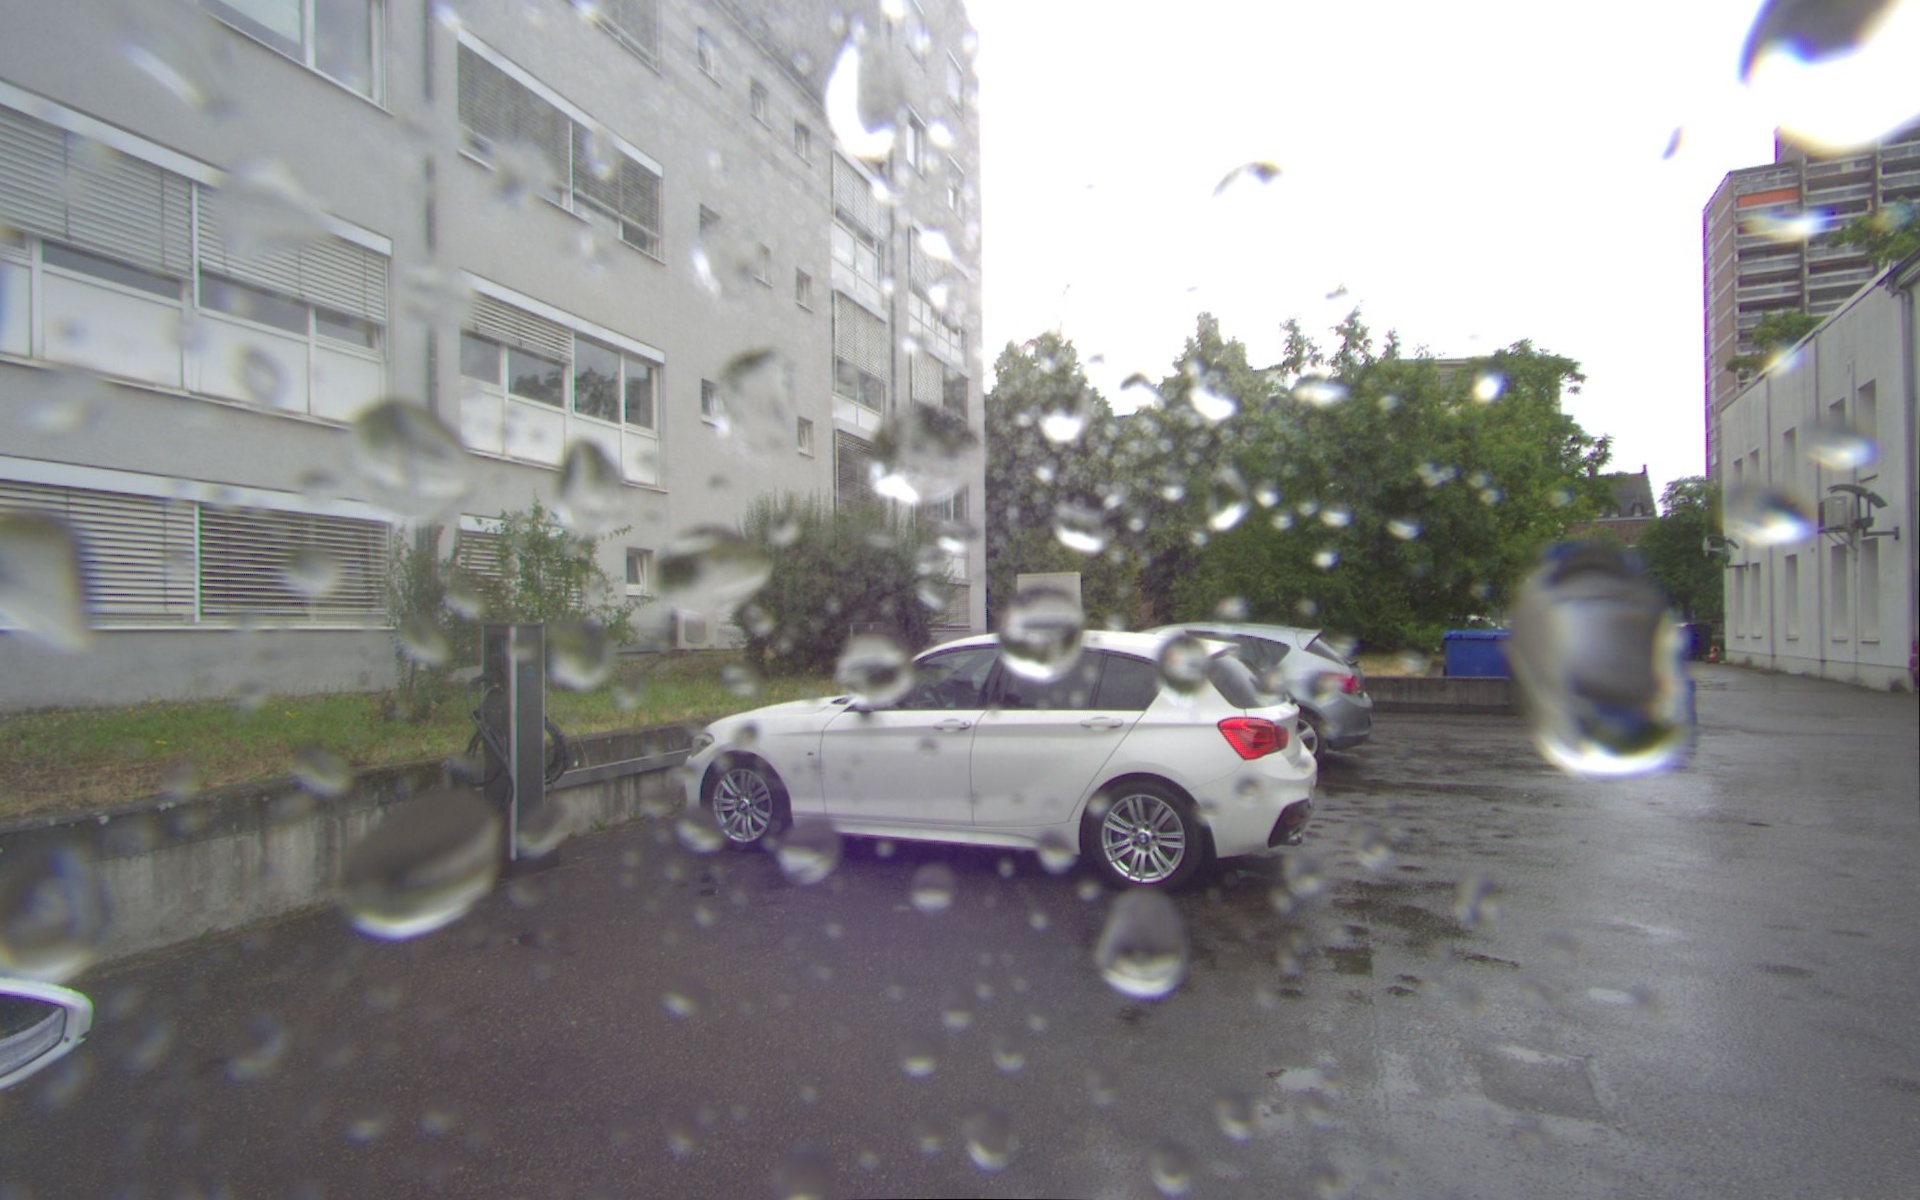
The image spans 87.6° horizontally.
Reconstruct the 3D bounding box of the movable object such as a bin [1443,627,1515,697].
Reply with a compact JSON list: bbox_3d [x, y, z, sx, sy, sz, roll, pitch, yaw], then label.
[{"bbox_3d":[10.685,1.294,20.698,1.214,1.374,1.965,-2,-4,26],"label":"movable object such as a bin"}]

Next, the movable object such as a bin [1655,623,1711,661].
[{"bbox_3d":[28.863,1.695,40.019,1.467,1.466,1.312,-2,-4,22],"label":"movable object such as a bin"}]

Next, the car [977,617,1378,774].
[{"bbox_3d":[2.482,0.992,11.359,4.151,1.508,1.995,-1,-2,23],"label":"car"}]

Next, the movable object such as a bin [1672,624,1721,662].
[{"bbox_3d":[28.312,1.667,38.516,1.168,1.390,1.312,-2,-4,22],"label":"movable object such as a bin"}]

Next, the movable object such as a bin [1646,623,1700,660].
[{"bbox_3d":[29.370,1.745,41.266,1.467,1.466,1.312,-2,-4,22],"label":"movable object such as a bin"}]

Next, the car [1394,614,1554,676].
[{"bbox_3d":[17.325,1.589,33.900,4.628,1.904,2.116,-3,-5,29],"label":"car"}]

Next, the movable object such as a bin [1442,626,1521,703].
[{"bbox_3d":[9.809,1.225,18.908,1.214,1.374,1.965,-2,-4,26],"label":"movable object such as a bin"}]

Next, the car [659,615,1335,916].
[{"bbox_3d":[0.283,0.905,6.785,4.151,1.508,1.995,-1,-2,23],"label":"car"}]

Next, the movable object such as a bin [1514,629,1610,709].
[{"bbox_3d":[10.947,1.265,18.312,1.293,1.374,1.900,-2,-4,26],"label":"movable object such as a bin"}]

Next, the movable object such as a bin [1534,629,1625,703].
[{"bbox_3d":[12.214,1.315,19.829,1.293,1.374,1.900,-2,-4,26],"label":"movable object such as a bin"}]
